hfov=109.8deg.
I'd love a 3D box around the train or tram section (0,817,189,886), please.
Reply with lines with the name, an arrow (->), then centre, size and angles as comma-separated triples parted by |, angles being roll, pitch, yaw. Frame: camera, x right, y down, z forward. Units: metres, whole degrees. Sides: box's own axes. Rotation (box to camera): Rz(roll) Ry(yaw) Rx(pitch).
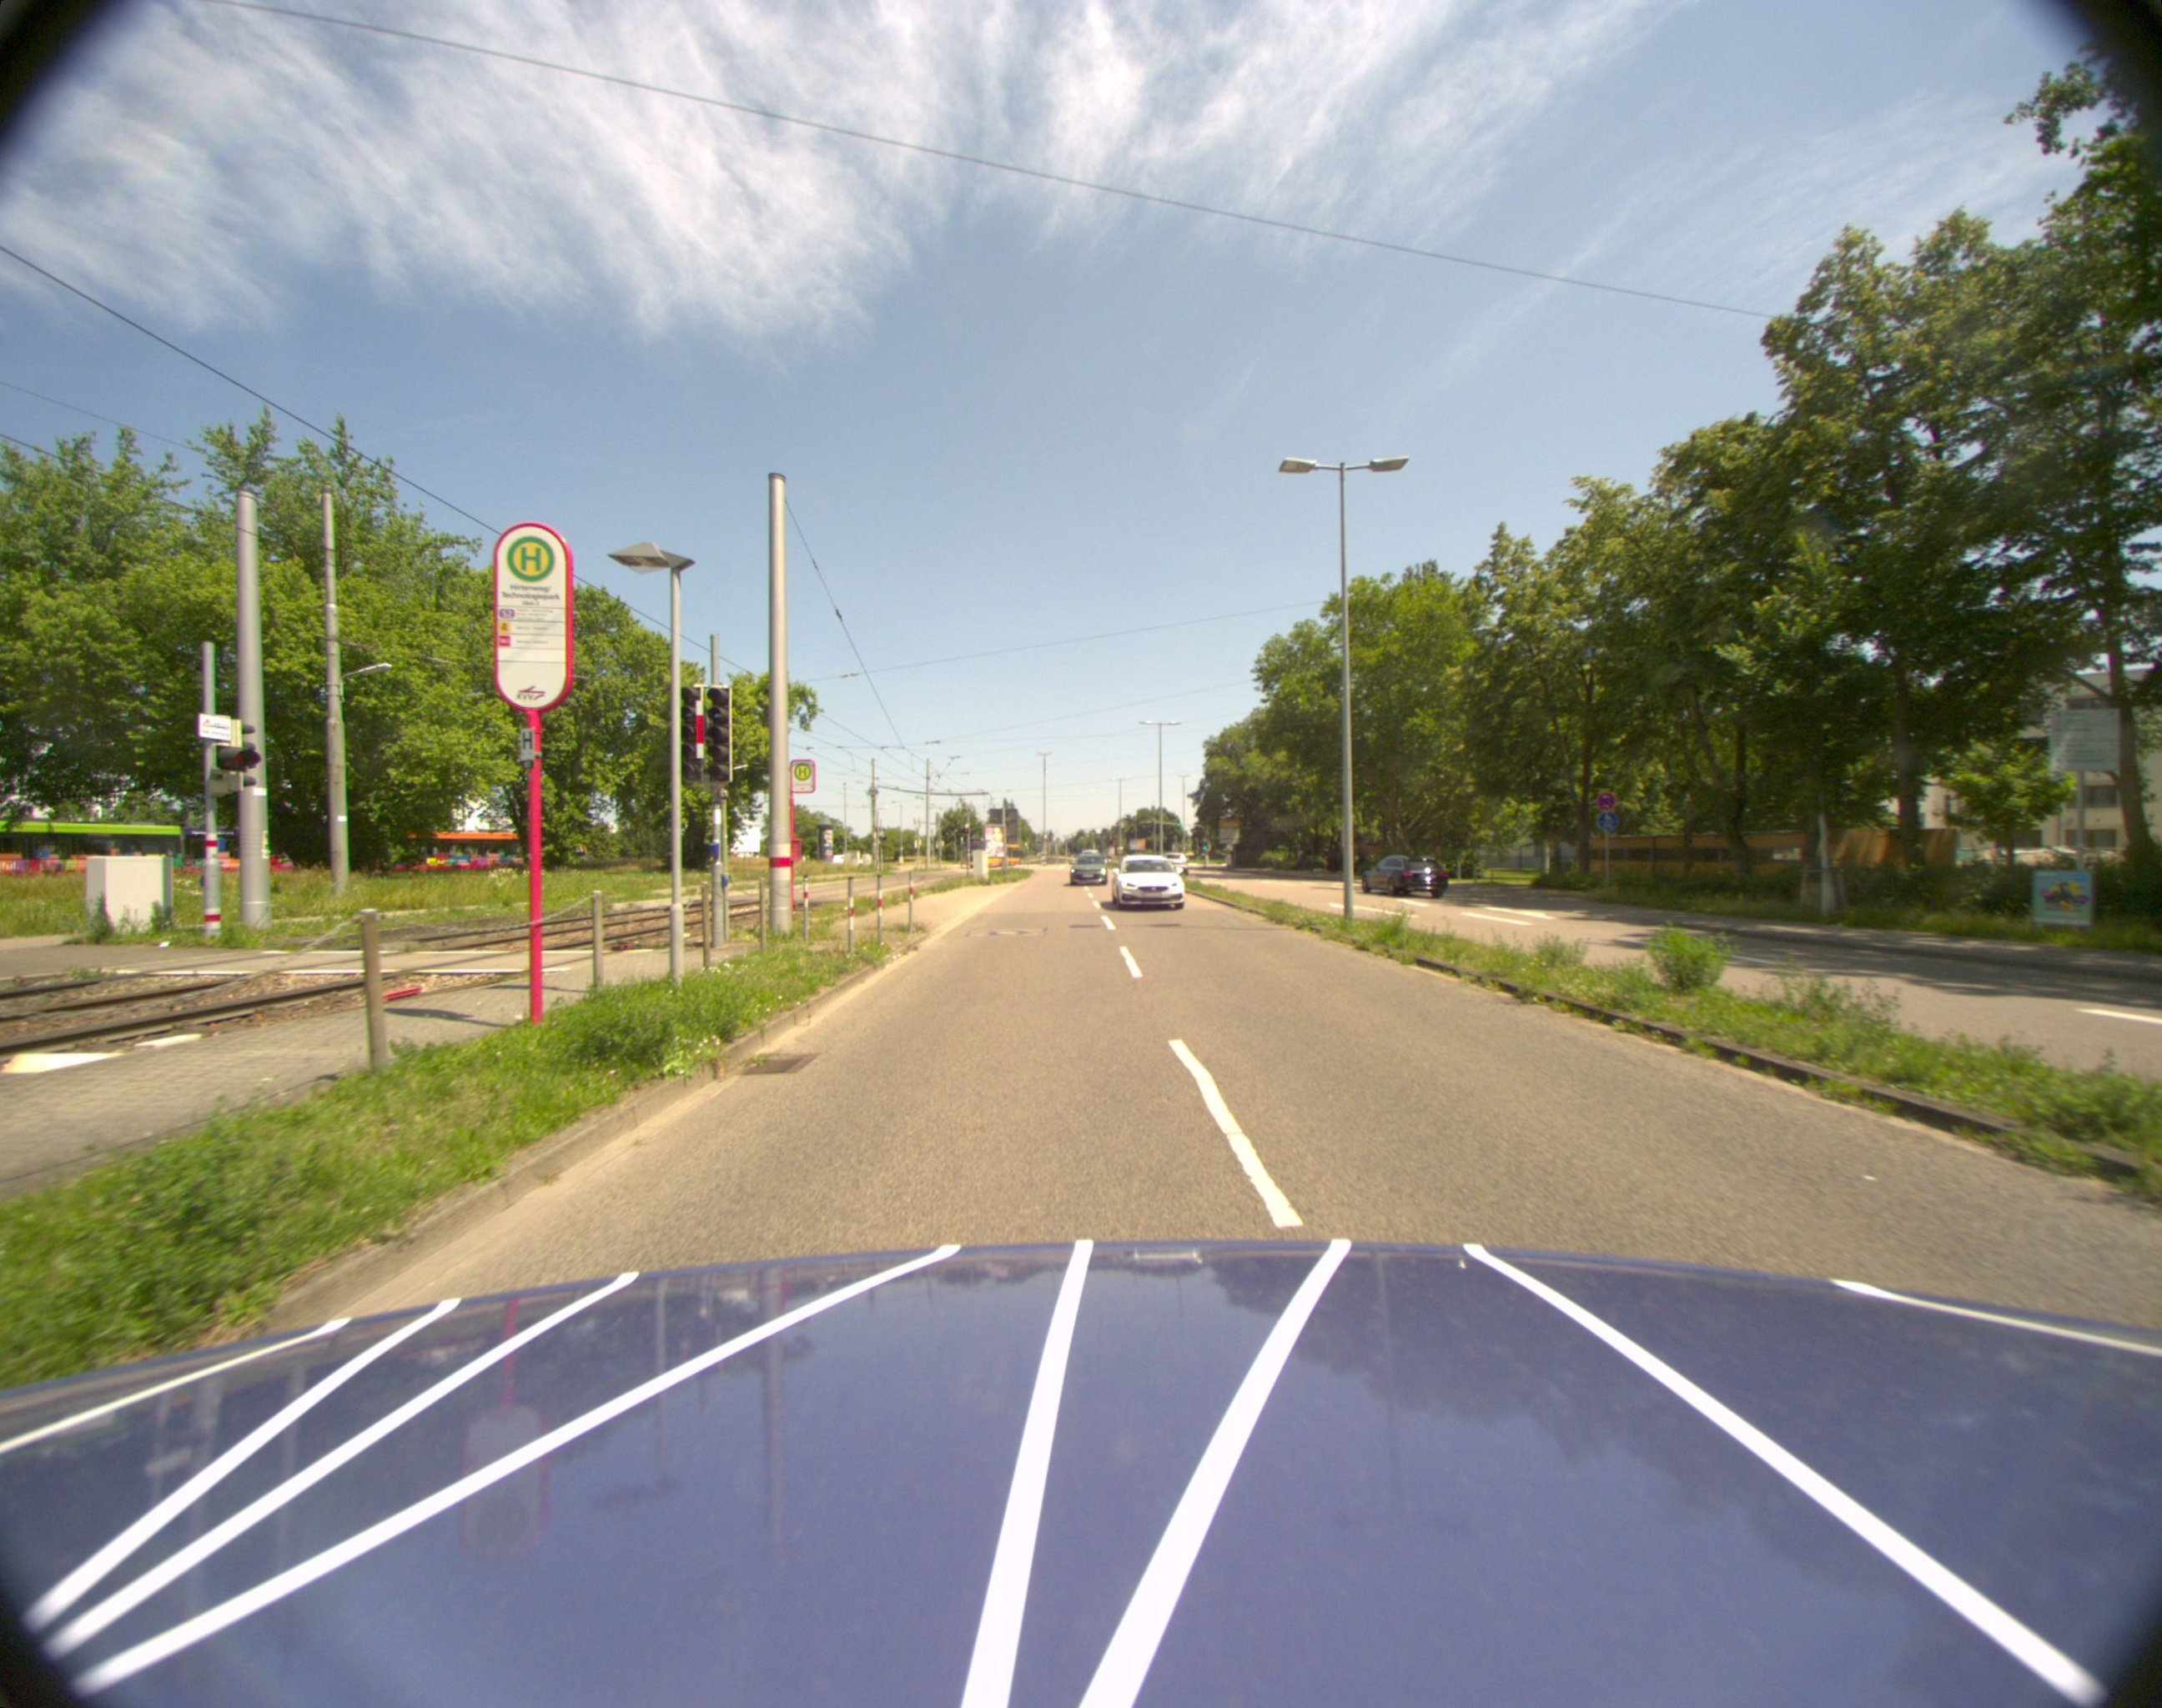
train or tram section -> -57.614, -0.157, 41.191 | 2.713, 3.598, 13.251 | 0, 0, 1

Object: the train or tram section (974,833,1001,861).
train or tram section -> -11.726, -0.912, 95.780 | 2.524, 3.304, 7.258 | 0, 1, 0

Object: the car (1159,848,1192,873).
car -> 6.743, 0.461, 54.644 | 1.816, 1.631, 3.999 | -2, 1, -1

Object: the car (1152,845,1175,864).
car -> 8.979, 0.004, 82.958 | 1.999, 2.002, 3.999 | 0, 1, 0

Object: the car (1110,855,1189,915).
car -> 1.831, 0.795, 21.557 | 1.772, 1.460, 4.110 | -2, 0, -1

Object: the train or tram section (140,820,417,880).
train or tram section -> -55.407, -0.419, 53.453 | 2.710, 3.628, 13.267 | -1, 1, 19

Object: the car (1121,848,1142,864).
car -> 5.961, 0.244, 90.844 | 1.999, 1.788, 3.998 | 0, 0, -4

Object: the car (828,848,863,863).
car -> -27.741, 0.146, 89.590 | 1.849, 1.609, 4.004 | -1, 1, 19

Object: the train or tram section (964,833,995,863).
train or tram section -> -11.758, -0.758, 88.482 | 2.524, 3.304, 7.258 | 0, 1, 0

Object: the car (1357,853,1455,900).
car -> 11.897, 0.759, 28.170 | 1.744, 1.499, 4.635 | 2, 1, 3

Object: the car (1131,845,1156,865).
car -> 6.453, 0.119, 79.123 | 1.999, 2.002, 3.998 | 0, 1, -4

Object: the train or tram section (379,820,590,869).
train or tram section -> -48.327, -0.883, 62.384 | 13.272, 3.629, 2.708 | -2, 2, -33

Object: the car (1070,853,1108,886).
car -> 0.439, 0.749, 38.590 | 1.788, 1.554, 4.135 | 0, 0, 1
